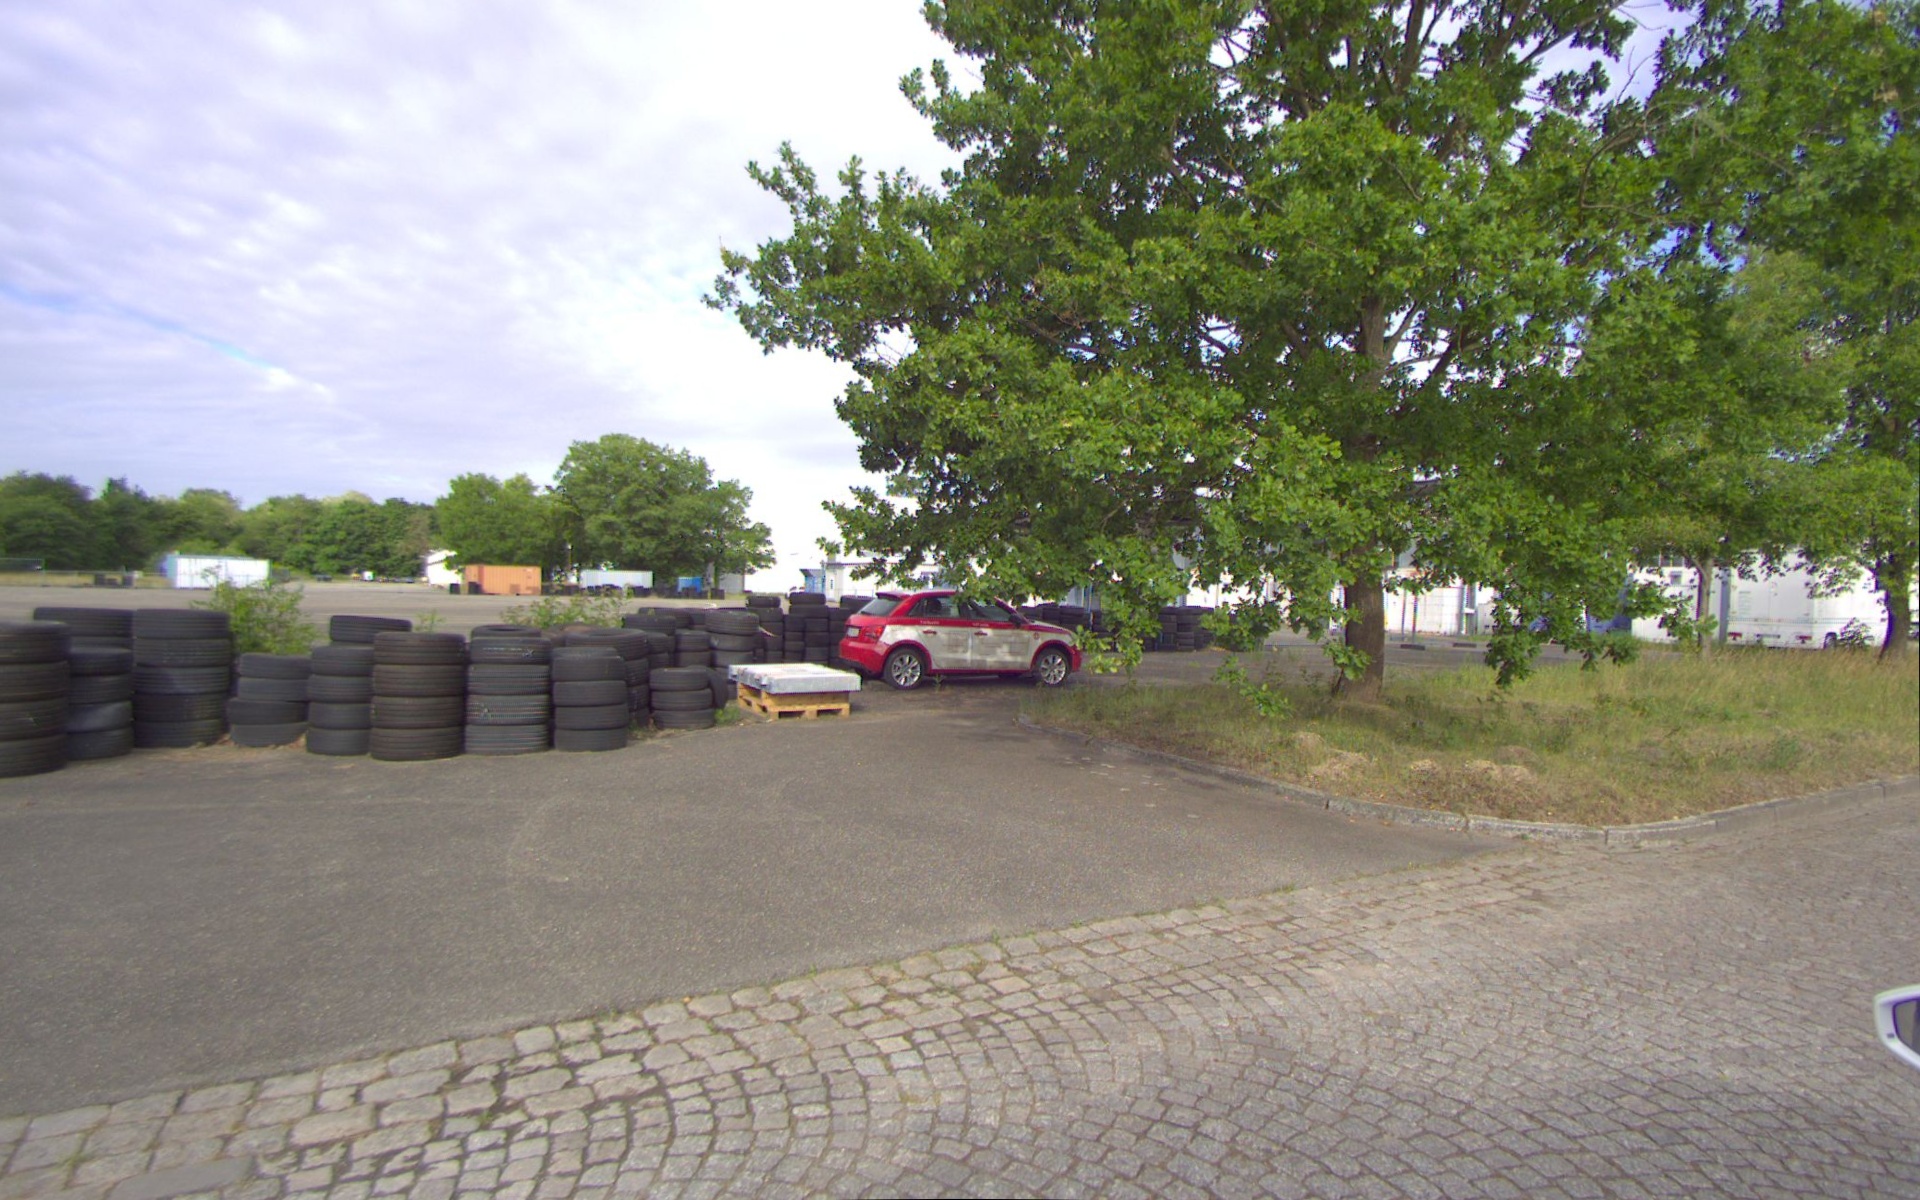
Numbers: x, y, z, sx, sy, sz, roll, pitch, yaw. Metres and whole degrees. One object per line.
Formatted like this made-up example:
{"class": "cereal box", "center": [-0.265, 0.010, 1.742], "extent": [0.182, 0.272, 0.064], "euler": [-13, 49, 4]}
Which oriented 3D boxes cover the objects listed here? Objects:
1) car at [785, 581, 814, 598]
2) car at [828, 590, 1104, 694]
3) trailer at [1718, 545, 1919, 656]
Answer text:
{"class": "car", "center": [-17.606, -1.157, 110.001], "extent": [1.808, 1.655, 4.086], "euler": [1, 1, -29]}
{"class": "car", "center": [0.108, 0.601, 15.685], "extent": [4.008, 1.453, 1.620], "euler": [1, 1, -25]}
{"class": "trailer", "center": [31.709, 0.091, 36.525], "extent": [10.051, 3.646, 2.614], "euler": [1, 1, -29]}
